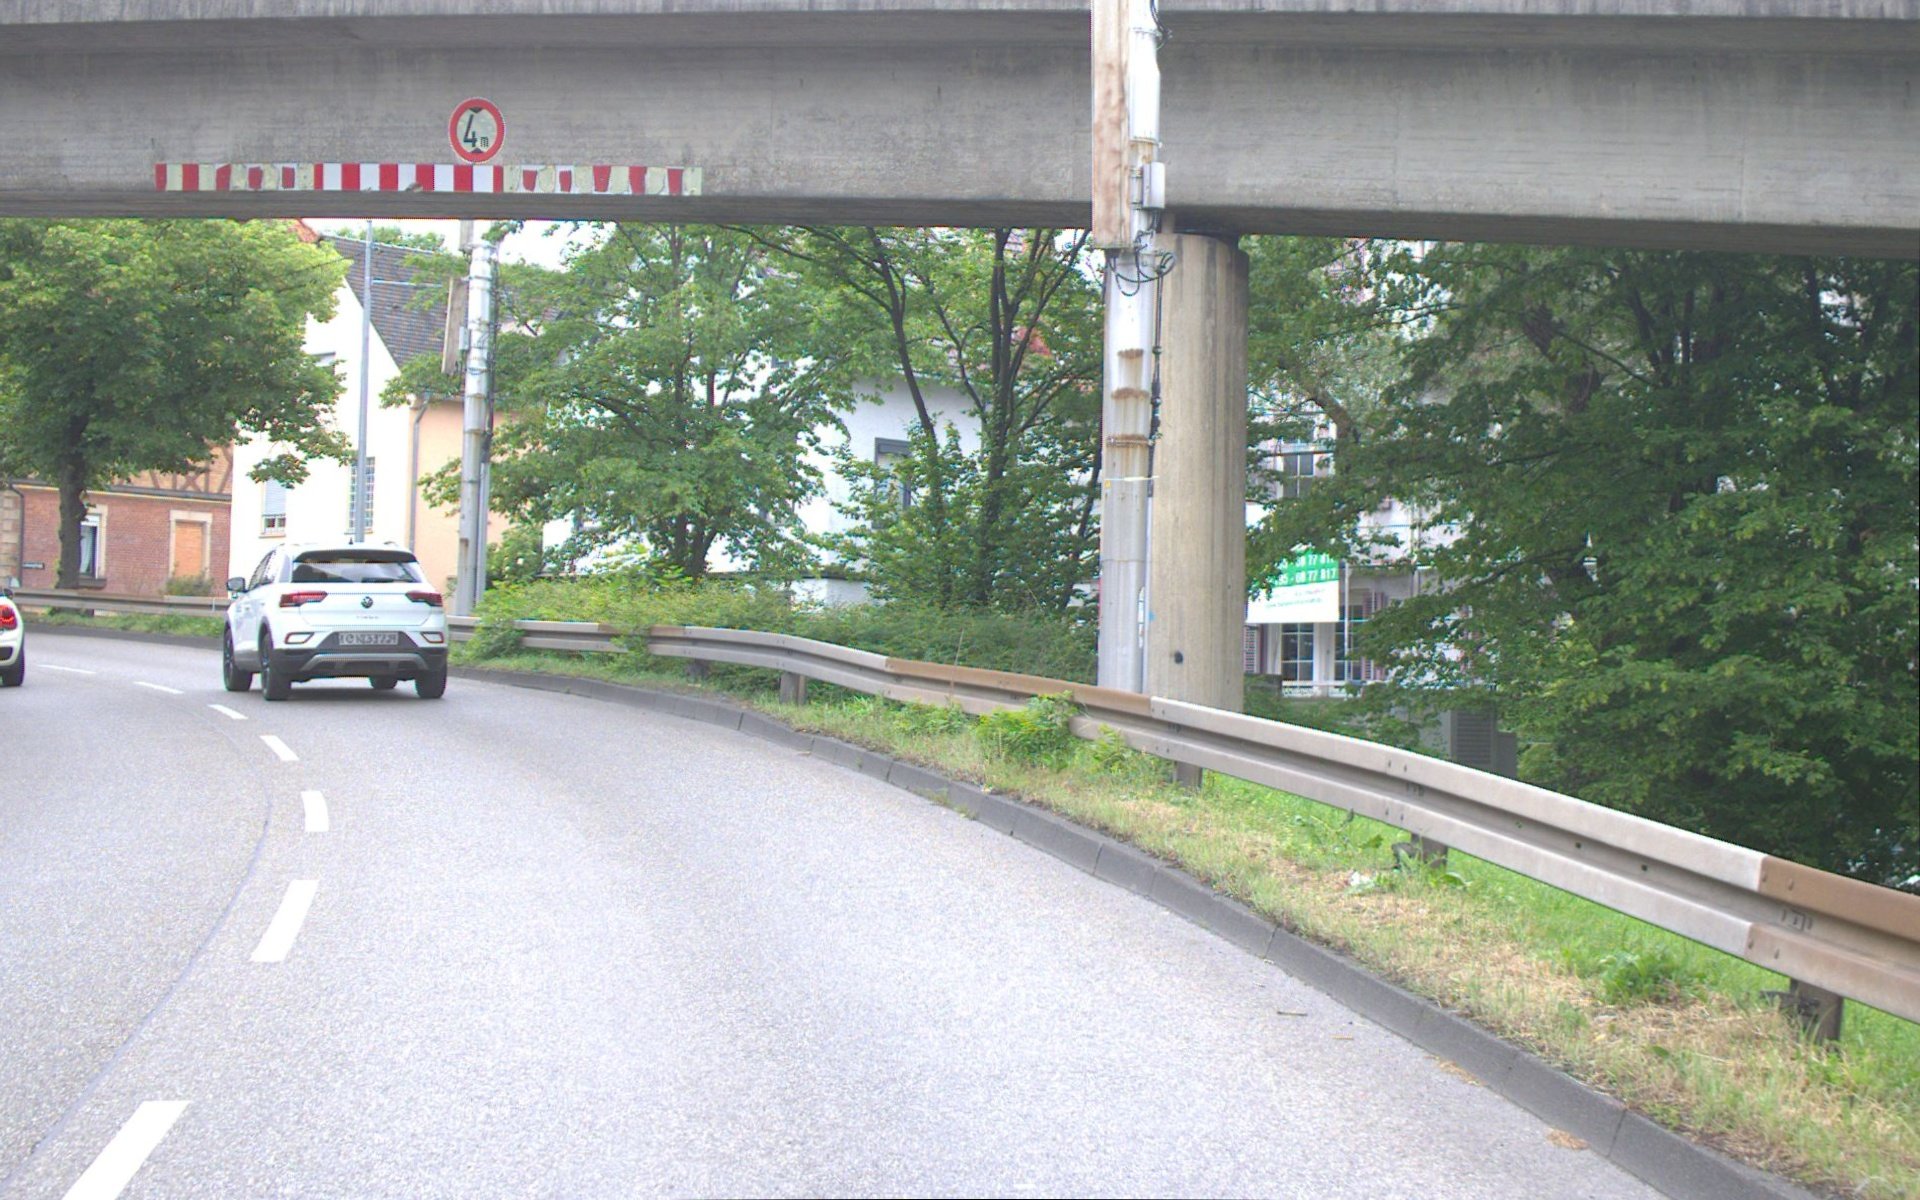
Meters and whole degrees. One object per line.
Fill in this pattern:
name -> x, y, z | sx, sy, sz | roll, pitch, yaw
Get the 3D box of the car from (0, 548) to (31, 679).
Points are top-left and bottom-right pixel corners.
car -> -11.524, 0.105, 38.423 | 1.722, 1.371, 3.457 | 1, 2, -23

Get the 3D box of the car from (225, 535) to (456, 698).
car -> -6.313, 0.140, 34.792 | 1.796, 1.513, 3.458 | 1, 2, -19

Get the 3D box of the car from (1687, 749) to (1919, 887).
car -> 11.606, 2.827, 44.323 | 4.027, 1.443, 1.620 | 4, 0, 42
